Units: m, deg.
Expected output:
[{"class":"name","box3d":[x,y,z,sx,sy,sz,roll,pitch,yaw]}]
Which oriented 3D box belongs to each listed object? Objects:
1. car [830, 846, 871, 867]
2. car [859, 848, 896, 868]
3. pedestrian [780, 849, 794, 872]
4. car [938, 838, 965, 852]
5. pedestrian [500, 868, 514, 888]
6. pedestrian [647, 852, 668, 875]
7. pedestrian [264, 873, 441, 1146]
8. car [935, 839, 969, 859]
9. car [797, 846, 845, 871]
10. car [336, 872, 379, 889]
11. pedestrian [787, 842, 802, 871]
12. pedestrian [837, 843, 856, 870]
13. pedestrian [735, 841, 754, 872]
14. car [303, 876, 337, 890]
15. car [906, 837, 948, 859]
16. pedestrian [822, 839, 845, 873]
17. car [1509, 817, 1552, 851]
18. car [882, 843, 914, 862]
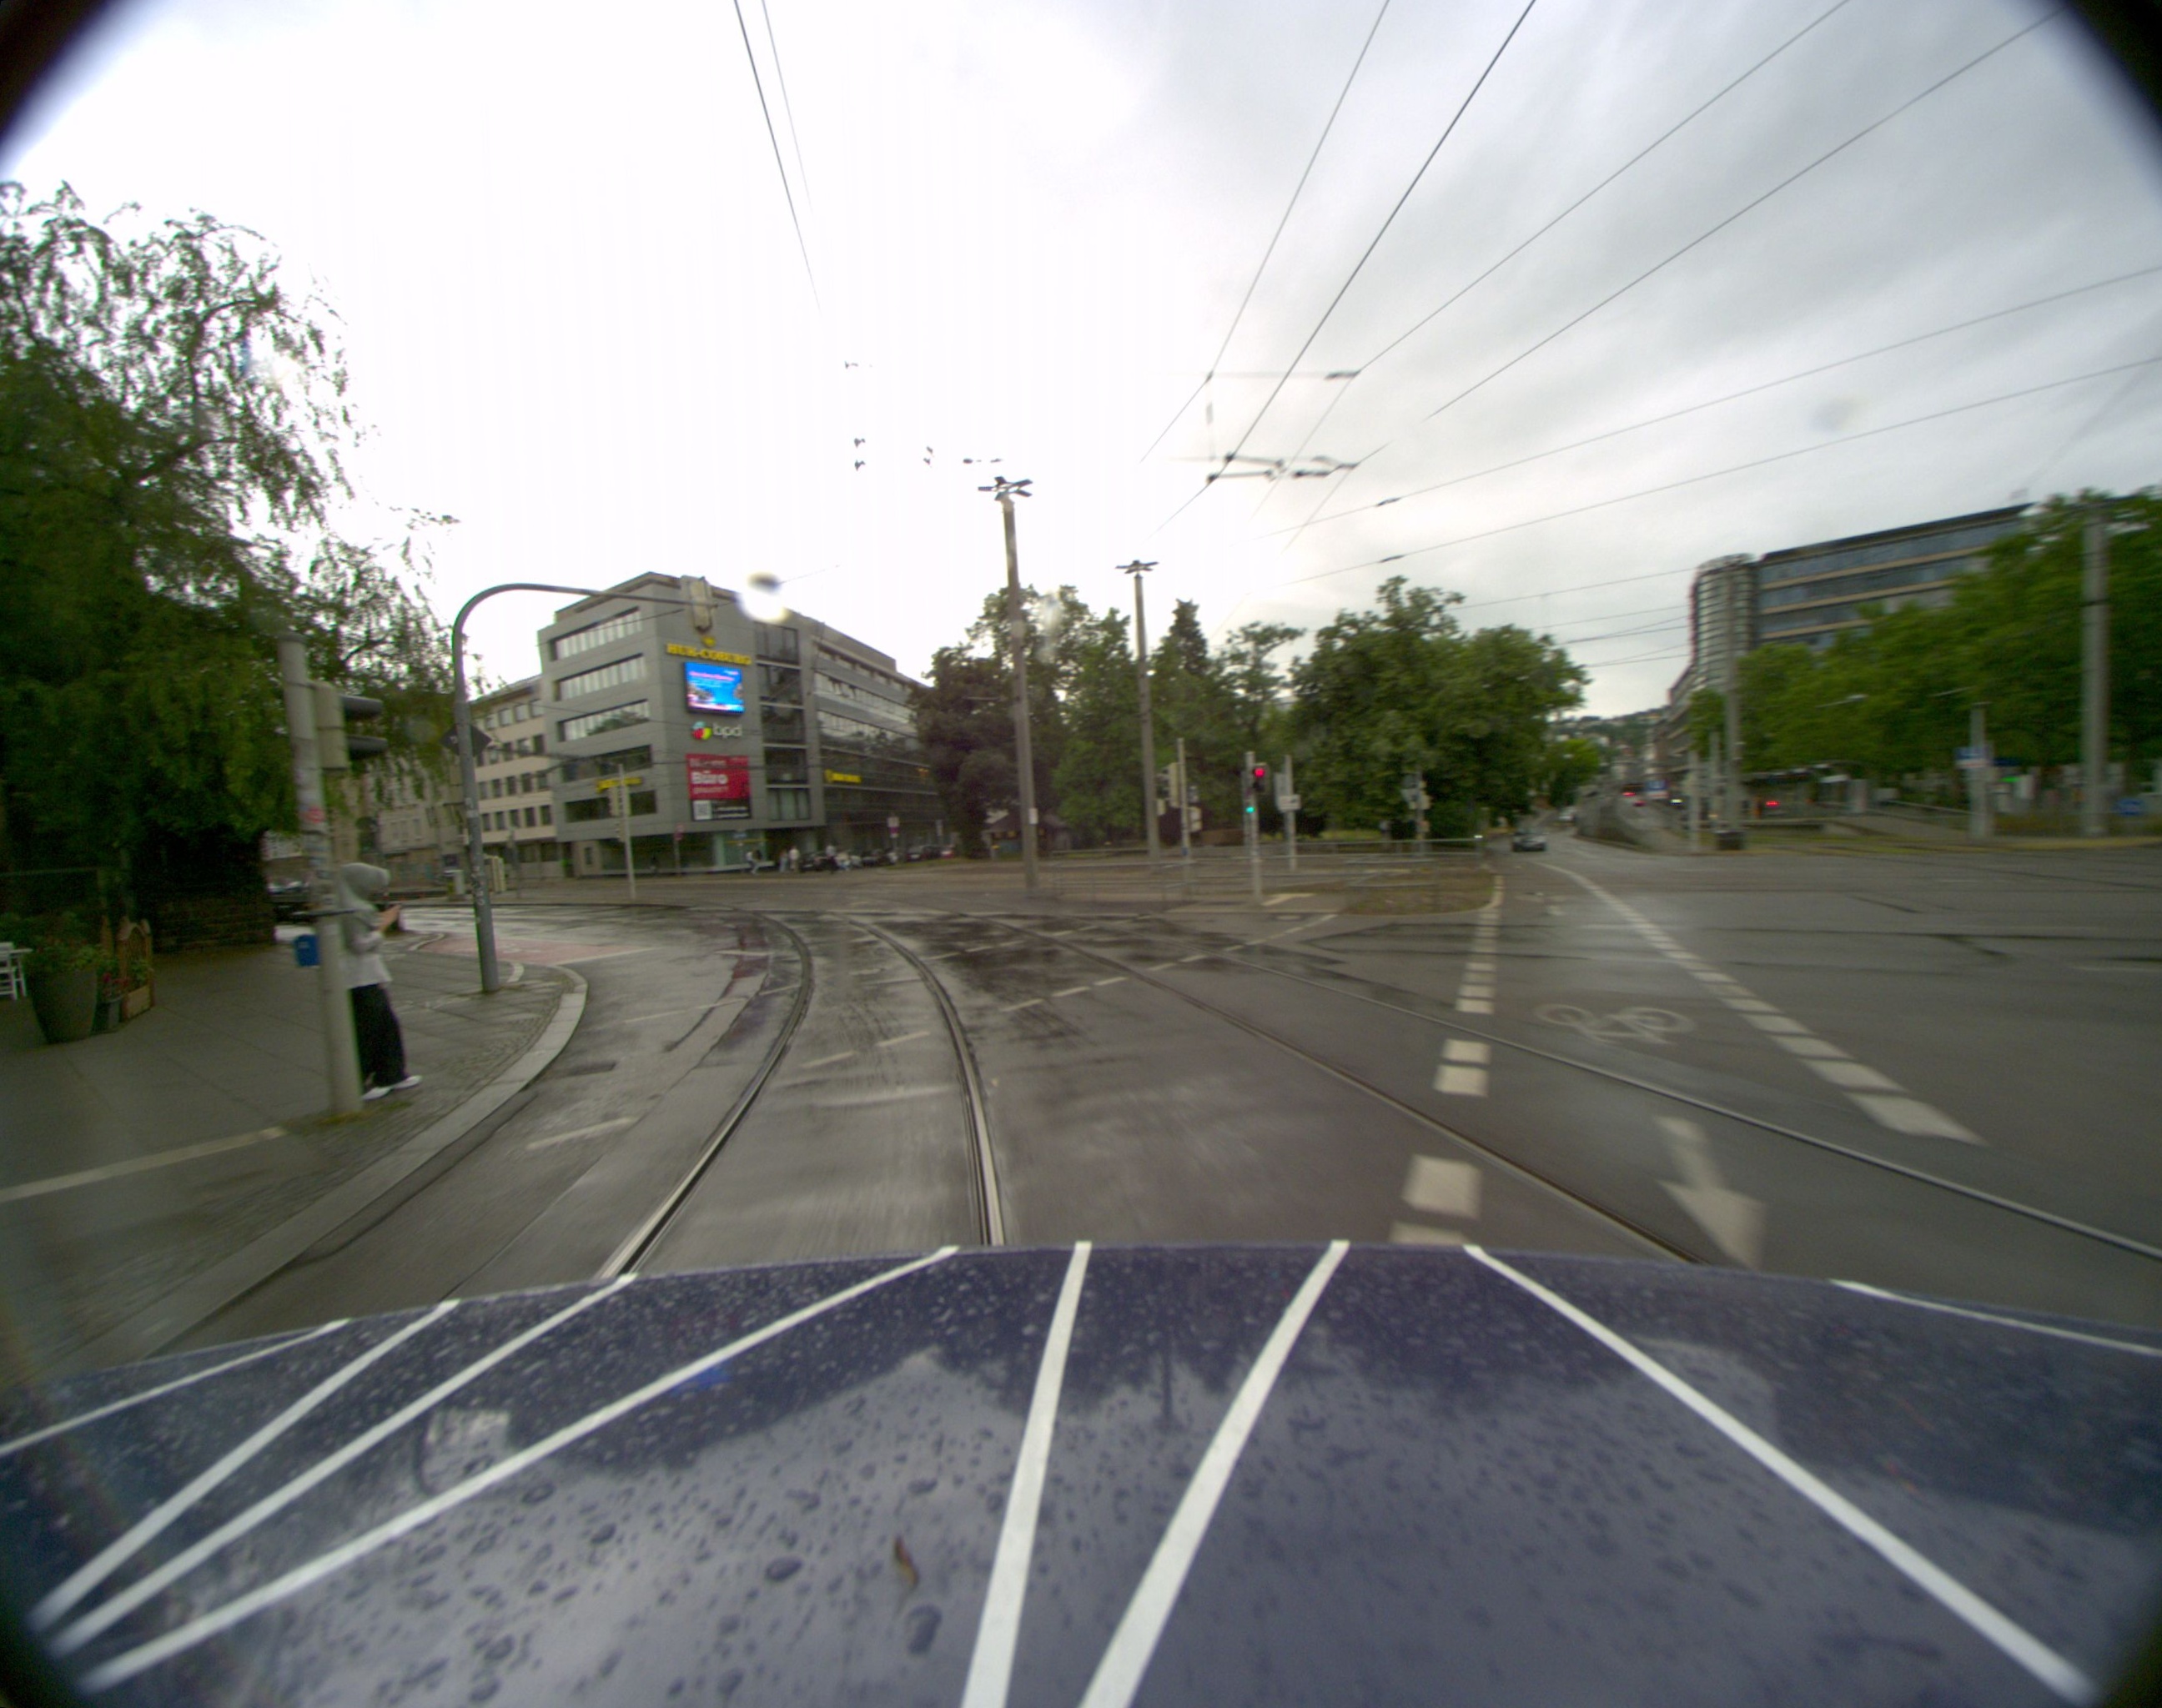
[{"class":"car","box3d":[-17.918,0.181,59.218,1.700,1.446,3.742,-3,2,6]},{"class":"car","box3d":[-16.962,0.315,63.618,1.700,1.446,3.742,-3,2,6]},{"class":"pedestrian","box3d":[-21.035,0.484,54.425,0.590,1.586,0.634,-9,6,-40]},{"class":"car","box3d":[-14.089,-0.990,82.733,1.700,1.440,3.541,-3,2,11]},{"class":"pedestrian","box3d":[-49.687,2.066,65.757,0.796,1.605,0.549,-1,7,35]},{"class":"pedestrian","box3d":[-30.228,0.671,54.232,0.587,1.586,0.968,0,7,42]},{"class":"pedestrian","box3d":[-5.008,1.013,5.278,0.529,1.703,0.704,-4,2,-19]},{"class":"car","box3d":[-10.345,-0.453,61.219,1.700,1.440,3.541,-3,2,7]},{"class":"car","box3d":[-18.782,0.311,55.111,1.700,1.542,3.742,-3,2,8]},{"class":"car","box3d":[-73.417,2.697,77.050,4.736,1.527,2.004,-2,0,32]},{"class":"pedestrian","box3d":[-20.332,0.166,53.967,0.617,2.003,0.662,-5,5,-5]},{"class":"pedestrian","box3d":[-14.712,0.141,47.710,0.913,1.586,1.001,-6,5,-12]},{"class":"pedestrian","box3d":[-22.484,0.168,50.749,0.808,2.003,0.664,-1,6,35]},{"class":"car","box3d":[-83.209,3.191,83.080,4.159,1.447,1.745,-2,0,32]},{"class":"car","box3d":[-11.203,-0.435,55.586,1.700,1.440,3.541,-3,2,11]},{"class":"pedestrian","box3d":[-14.726,0.106,45.222,0.914,1.853,1.000,-7,6,-31]},{"class":"car","box3d":[25.616,-1.173,43.297,1.995,1.696,4.006,-2,2,31]},{"class":"car","box3d":[-16.508,-0.125,68.658,1.700,1.546,3.540,-3,2,6]}]
